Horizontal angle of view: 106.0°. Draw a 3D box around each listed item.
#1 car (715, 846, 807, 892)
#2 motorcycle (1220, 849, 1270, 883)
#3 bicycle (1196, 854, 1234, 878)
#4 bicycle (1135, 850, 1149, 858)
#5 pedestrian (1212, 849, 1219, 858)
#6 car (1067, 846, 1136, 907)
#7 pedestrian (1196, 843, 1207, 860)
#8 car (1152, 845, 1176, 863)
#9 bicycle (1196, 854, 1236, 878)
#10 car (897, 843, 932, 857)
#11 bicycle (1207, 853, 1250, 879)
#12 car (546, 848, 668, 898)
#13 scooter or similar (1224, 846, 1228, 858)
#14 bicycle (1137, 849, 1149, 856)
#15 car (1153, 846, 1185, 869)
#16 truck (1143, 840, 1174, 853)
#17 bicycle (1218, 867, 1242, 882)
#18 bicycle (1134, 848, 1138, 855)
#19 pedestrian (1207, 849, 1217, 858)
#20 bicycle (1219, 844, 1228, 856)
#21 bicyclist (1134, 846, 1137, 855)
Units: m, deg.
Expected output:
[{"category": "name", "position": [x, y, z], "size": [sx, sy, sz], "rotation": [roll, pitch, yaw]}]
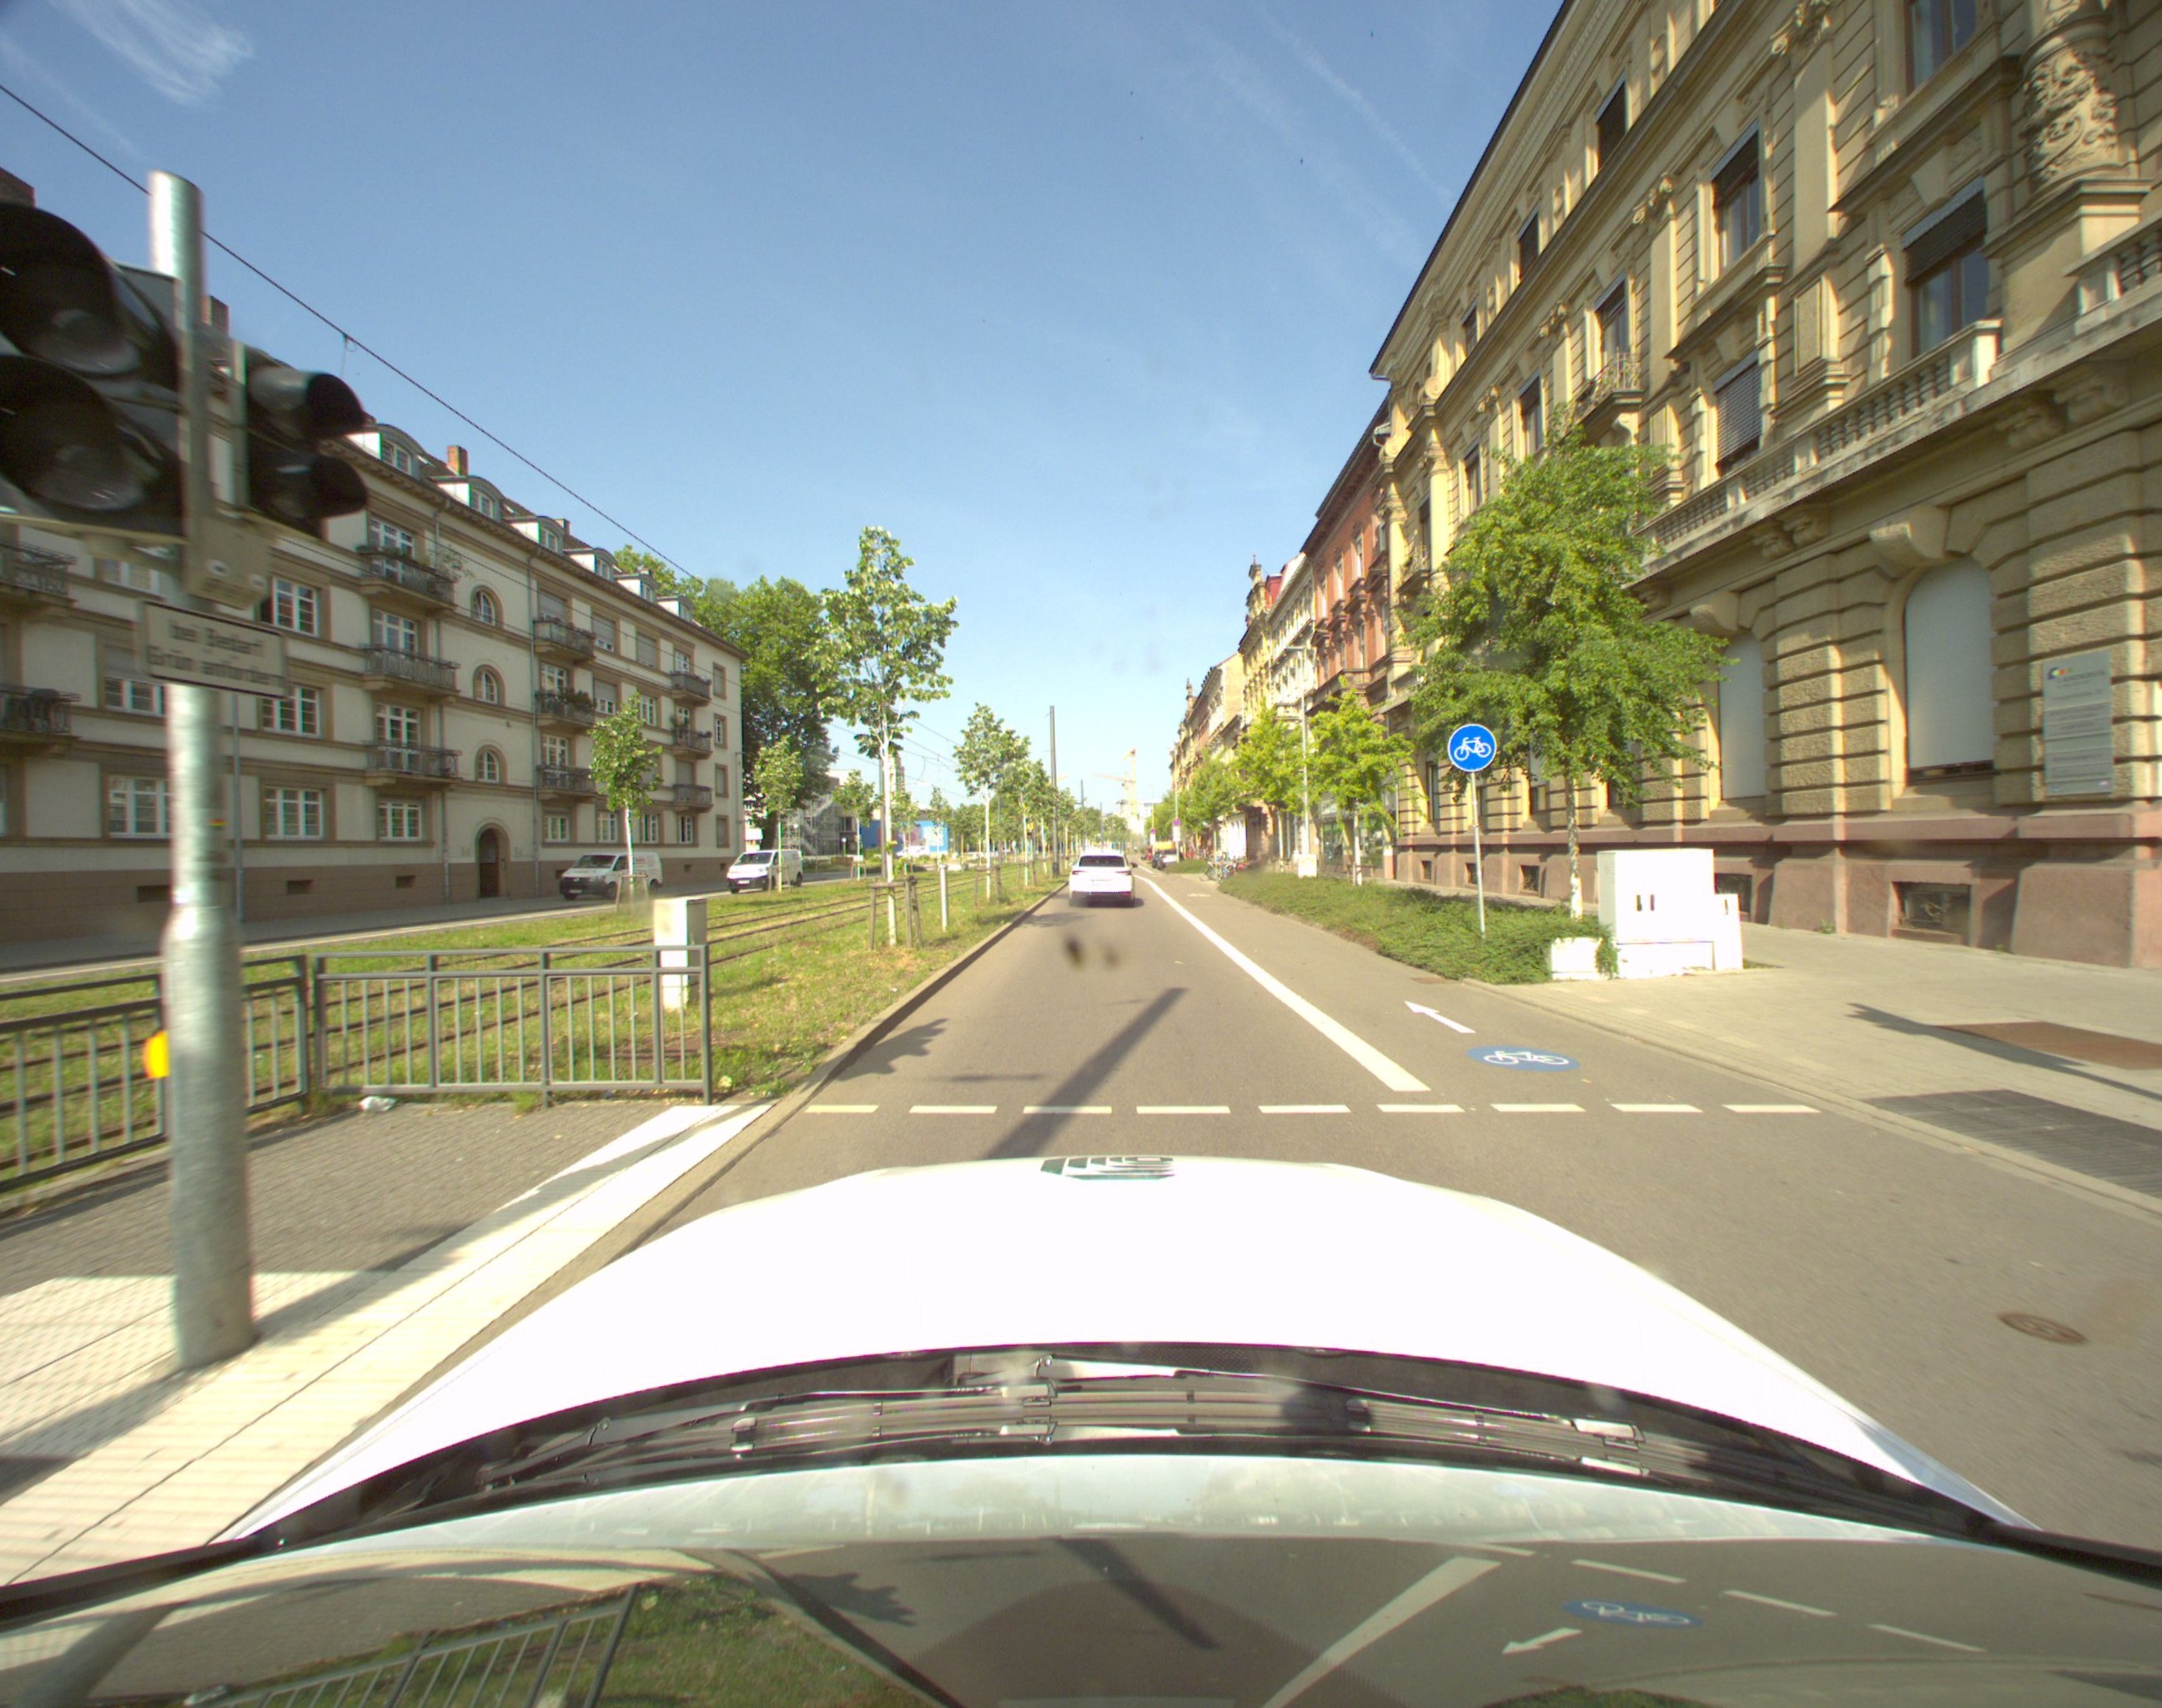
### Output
[{"category": "car", "position": [-14.680, 0.619, 37.723], "size": [1.985, 1.895, 5.050], "rotation": [-2, 1, 3]}, {"category": "motorcycle", "position": [6.830, 0.488, 33.876], "size": [2.049, 1.287, 0.698], "rotation": [-4, 1, -33]}, {"category": "bicycle", "position": [6.520, 0.585, 39.633], "size": [1.778, 1.054, 0.373], "rotation": [-3, 0, 0]}, {"category": "bicycle", "position": [9.908, -0.040, 133.143], "size": [2.229, 1.104, 0.589], "rotation": [-3, 0, 3]}, {"category": "pedestrian", "position": [13.575, -0.028, 81.946], "size": [0.569, 0.855, 0.457], "rotation": [-4, 0, -4]}, {"category": "car", "position": [0.640, 0.584, 23.812], "size": [1.810, 1.590, 4.409], "rotation": [-1, 0, 2]}, {"category": "pedestrian", "position": [12.208, -0.272, 82.416], "size": [0.821, 1.696, 0.792], "rotation": [-3, 0, -2]}, {"category": "car", "position": [6.943, -0.027, 68.410], "size": [1.729, 1.396, 4.719], "rotation": [-3, 1, 4]}, {"category": "bicycle", "position": [6.502, 0.585, 39.235], "size": [1.778, 1.054, 0.373], "rotation": [-3, 0, 0]}, {"category": "car", "position": [-34.752, -0.831, 169.700], "size": [6.895, 2.638, 2.498], "rotation": [1, 0, -19]}, {"category": "bicycle", "position": [6.886, 0.548, 38.011], "size": [1.803, 1.096, 0.671], "rotation": [-3, 0, -4]}, {"category": "car", "position": [-19.945, 0.728, 34.578], "size": [1.985, 1.918, 5.157], "rotation": [0, 1, 3]}, {"category": "scooter or similar", "position": [13.233, -0.201, 74.112], "size": [0.287, 1.134, 1.091], "rotation": [-1, 0, 8]}, {"category": "bicycle", "position": [10.299, -0.207, 134.273], "size": [1.926, 0.986, 0.471], "rotation": [-3, 0, 3]}, {"category": "car", "position": [6.513, 0.242, 60.757], "size": [1.764, 1.588, 4.246], "rotation": [-3, 1, -1]}, {"category": "truck", "position": [15.334, -1.492, 161.018], "size": [5.837, 2.318, 2.225], "rotation": [-1, 0, 8]}, {"category": "bicycle", "position": [6.452, 0.889, 35.324], "size": [0.954, 0.609, 0.361], "rotation": [-3, 0, 3]}, {"category": "bicycle", "position": [11.925, -0.554, 177.506], "size": [0.778, 1.496, 2.803], "rotation": [-1, 1, 4]}, {"category": "pedestrian", "position": [13.489, -0.034, 83.645], "size": [0.875, 0.876, 0.711], "rotation": [-3, 0, -1]}, {"category": "bicycle", "position": [13.746, -0.373, 78.595], "size": [0.450, 1.083, 1.445], "rotation": [-1, 0, -7]}, {"category": "bicyclist", "position": [11.920, -0.689, 177.344], "size": [0.706, 1.895, 0.844], "rotation": [-1, 0, 3]}]
